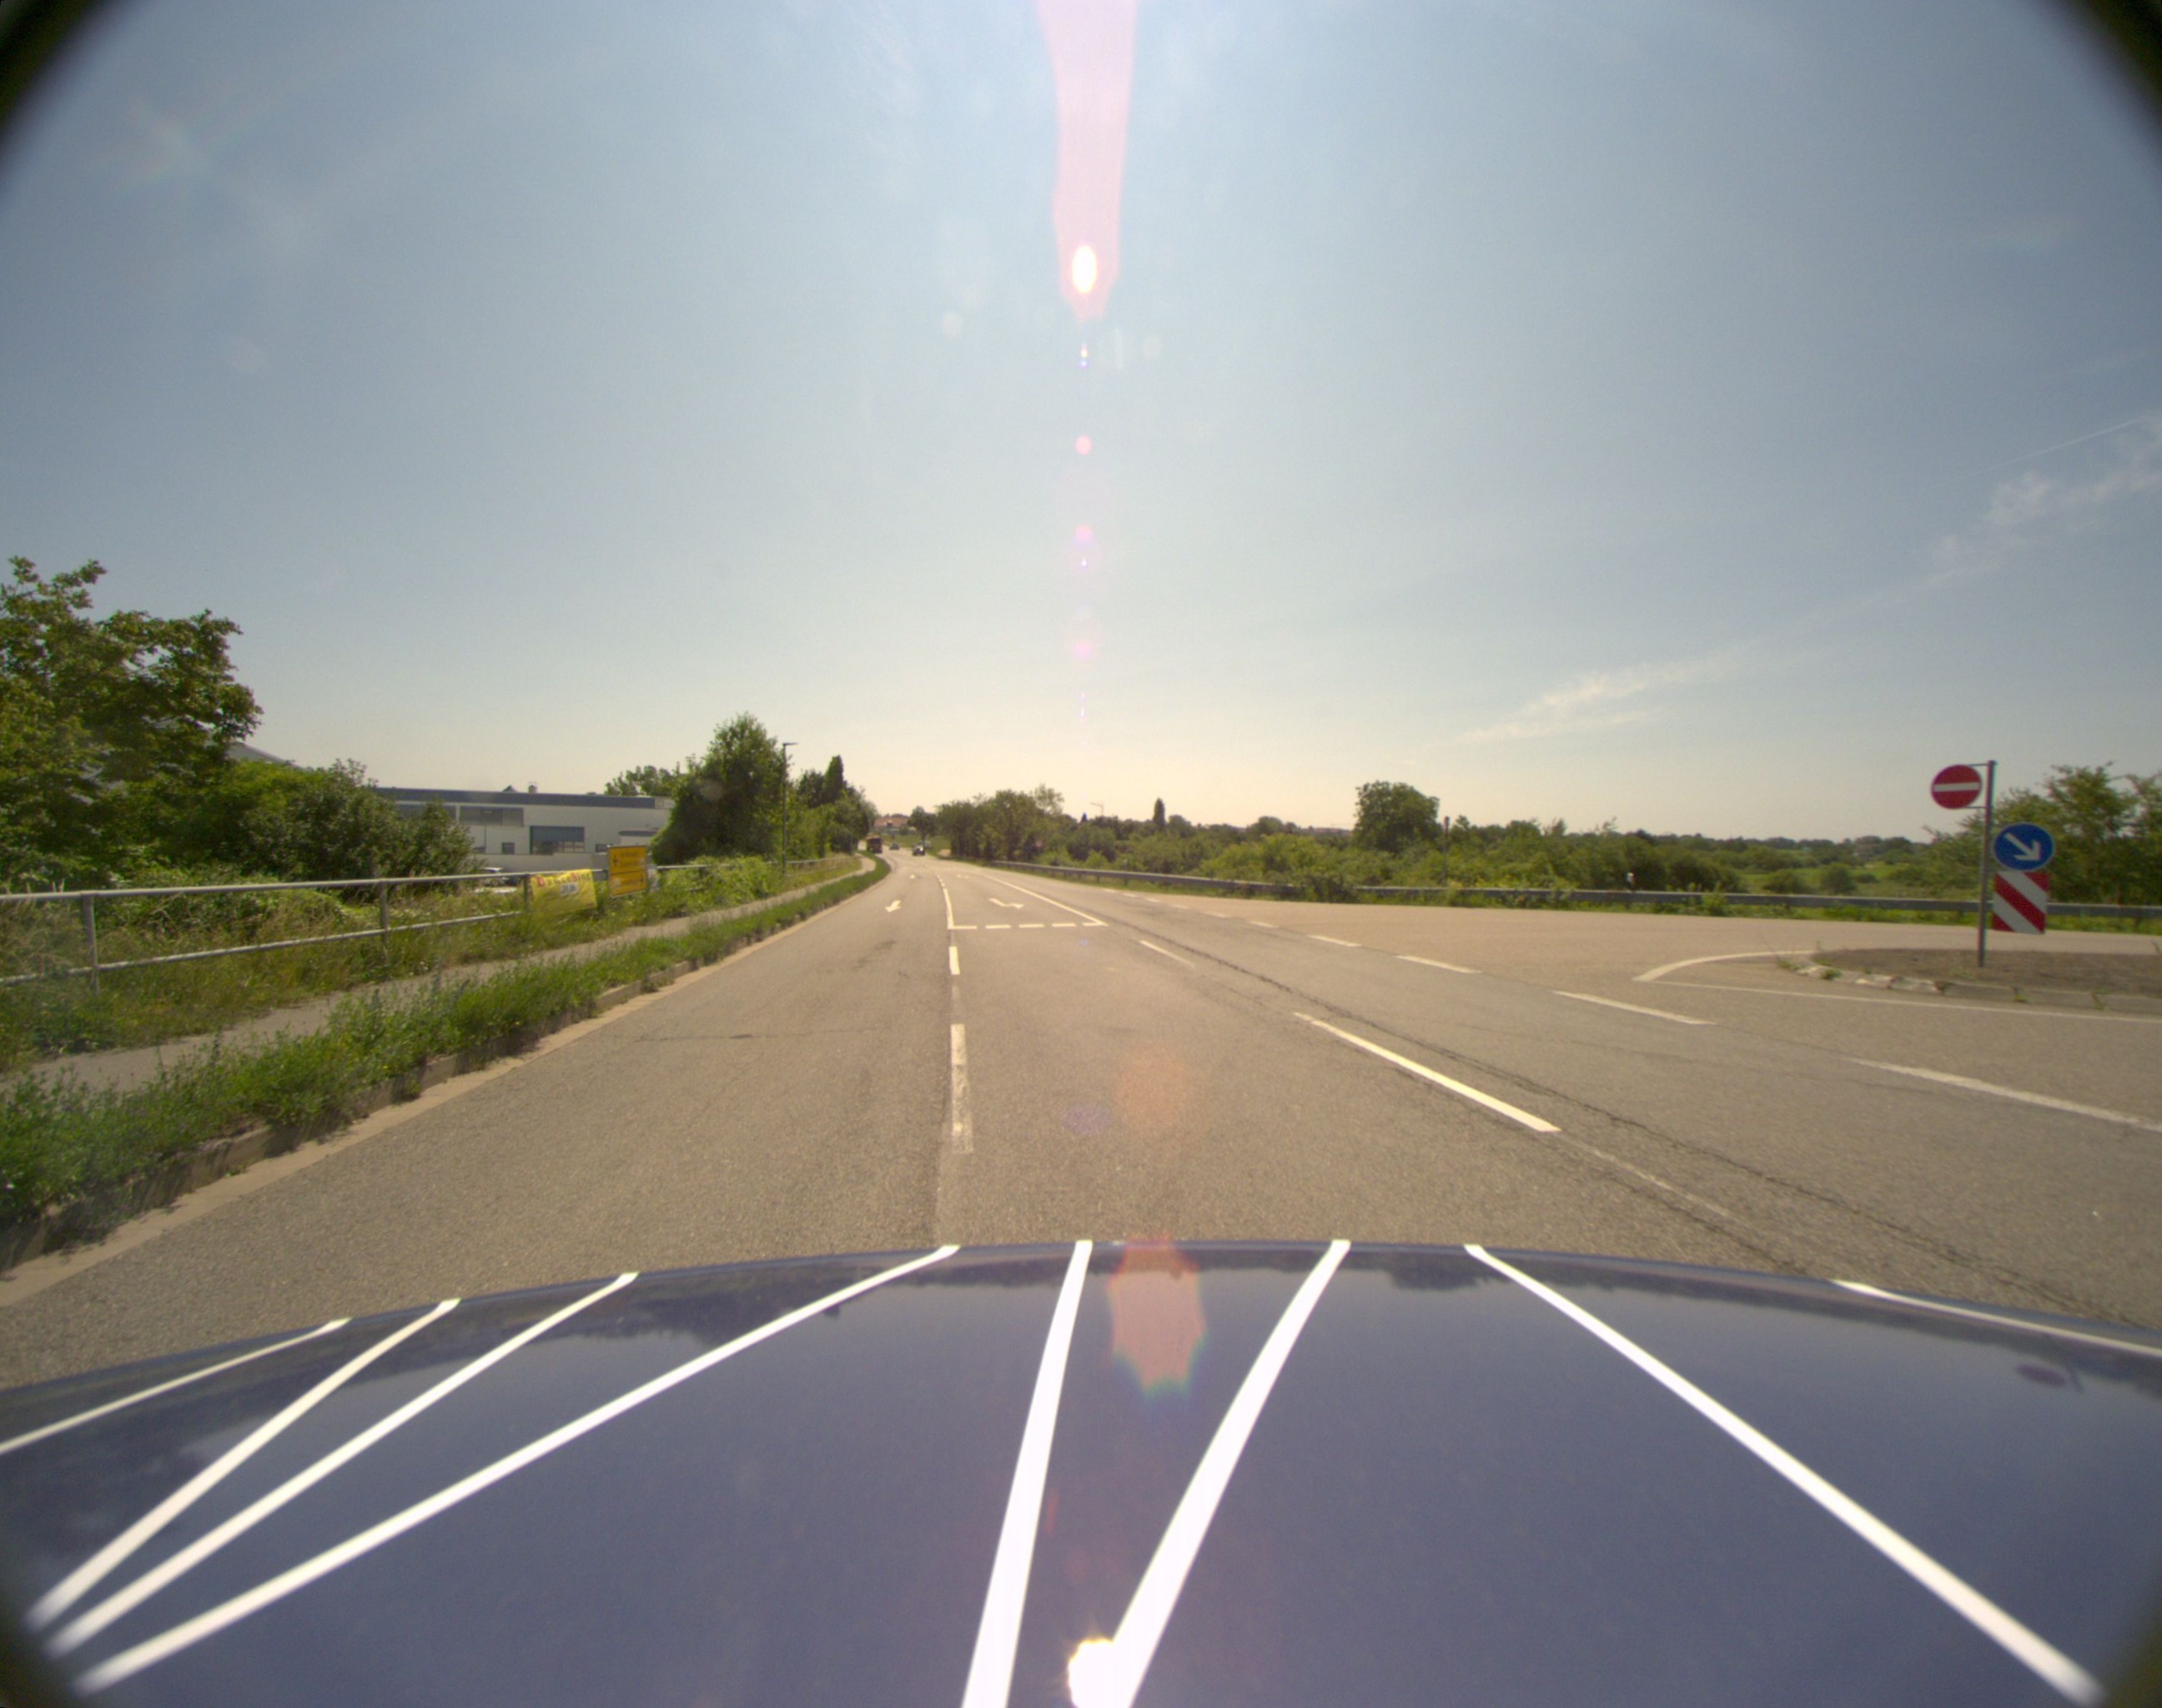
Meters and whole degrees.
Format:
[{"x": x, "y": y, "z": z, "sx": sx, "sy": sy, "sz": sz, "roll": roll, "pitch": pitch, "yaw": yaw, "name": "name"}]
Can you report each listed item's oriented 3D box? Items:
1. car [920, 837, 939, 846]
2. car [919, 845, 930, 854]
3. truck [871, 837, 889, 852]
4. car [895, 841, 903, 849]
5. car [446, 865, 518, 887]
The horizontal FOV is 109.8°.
[{"x": -35.857, "y": -2.872, "z": 179.538, "sx": 4.417, "sy": 2.002, "sz": 1.841, "roll": 0, "pitch": 1, "yaw": -13, "name": "car"}, {"x": -27.479, "y": -0.768, "z": 133.626, "sx": 1.799, "sy": 1.574, "sz": 4.485, "roll": 0, "pitch": 0, "yaw": -13, "name": "car"}, {"x": -38.785, "y": -1.892, "z": 146.546, "sx": 2.865, "sy": 2.771, "sz": 6.945, "roll": 0, "pitch": 2, "yaw": -20, "name": "truck"}, {"x": -39.330, "y": -1.961, "z": 164.451, "sx": 1.527, "sy": 1.564, "sz": 3.665, "roll": 0, "pitch": 1, "yaw": -12, "name": "car"}, {"x": -47.337, "y": 1.725, "z": 60.135, "sx": 4.075, "sy": 1.565, "sz": 1.727, "roll": 1, "pitch": 3, "yaw": -13, "name": "car"}]
